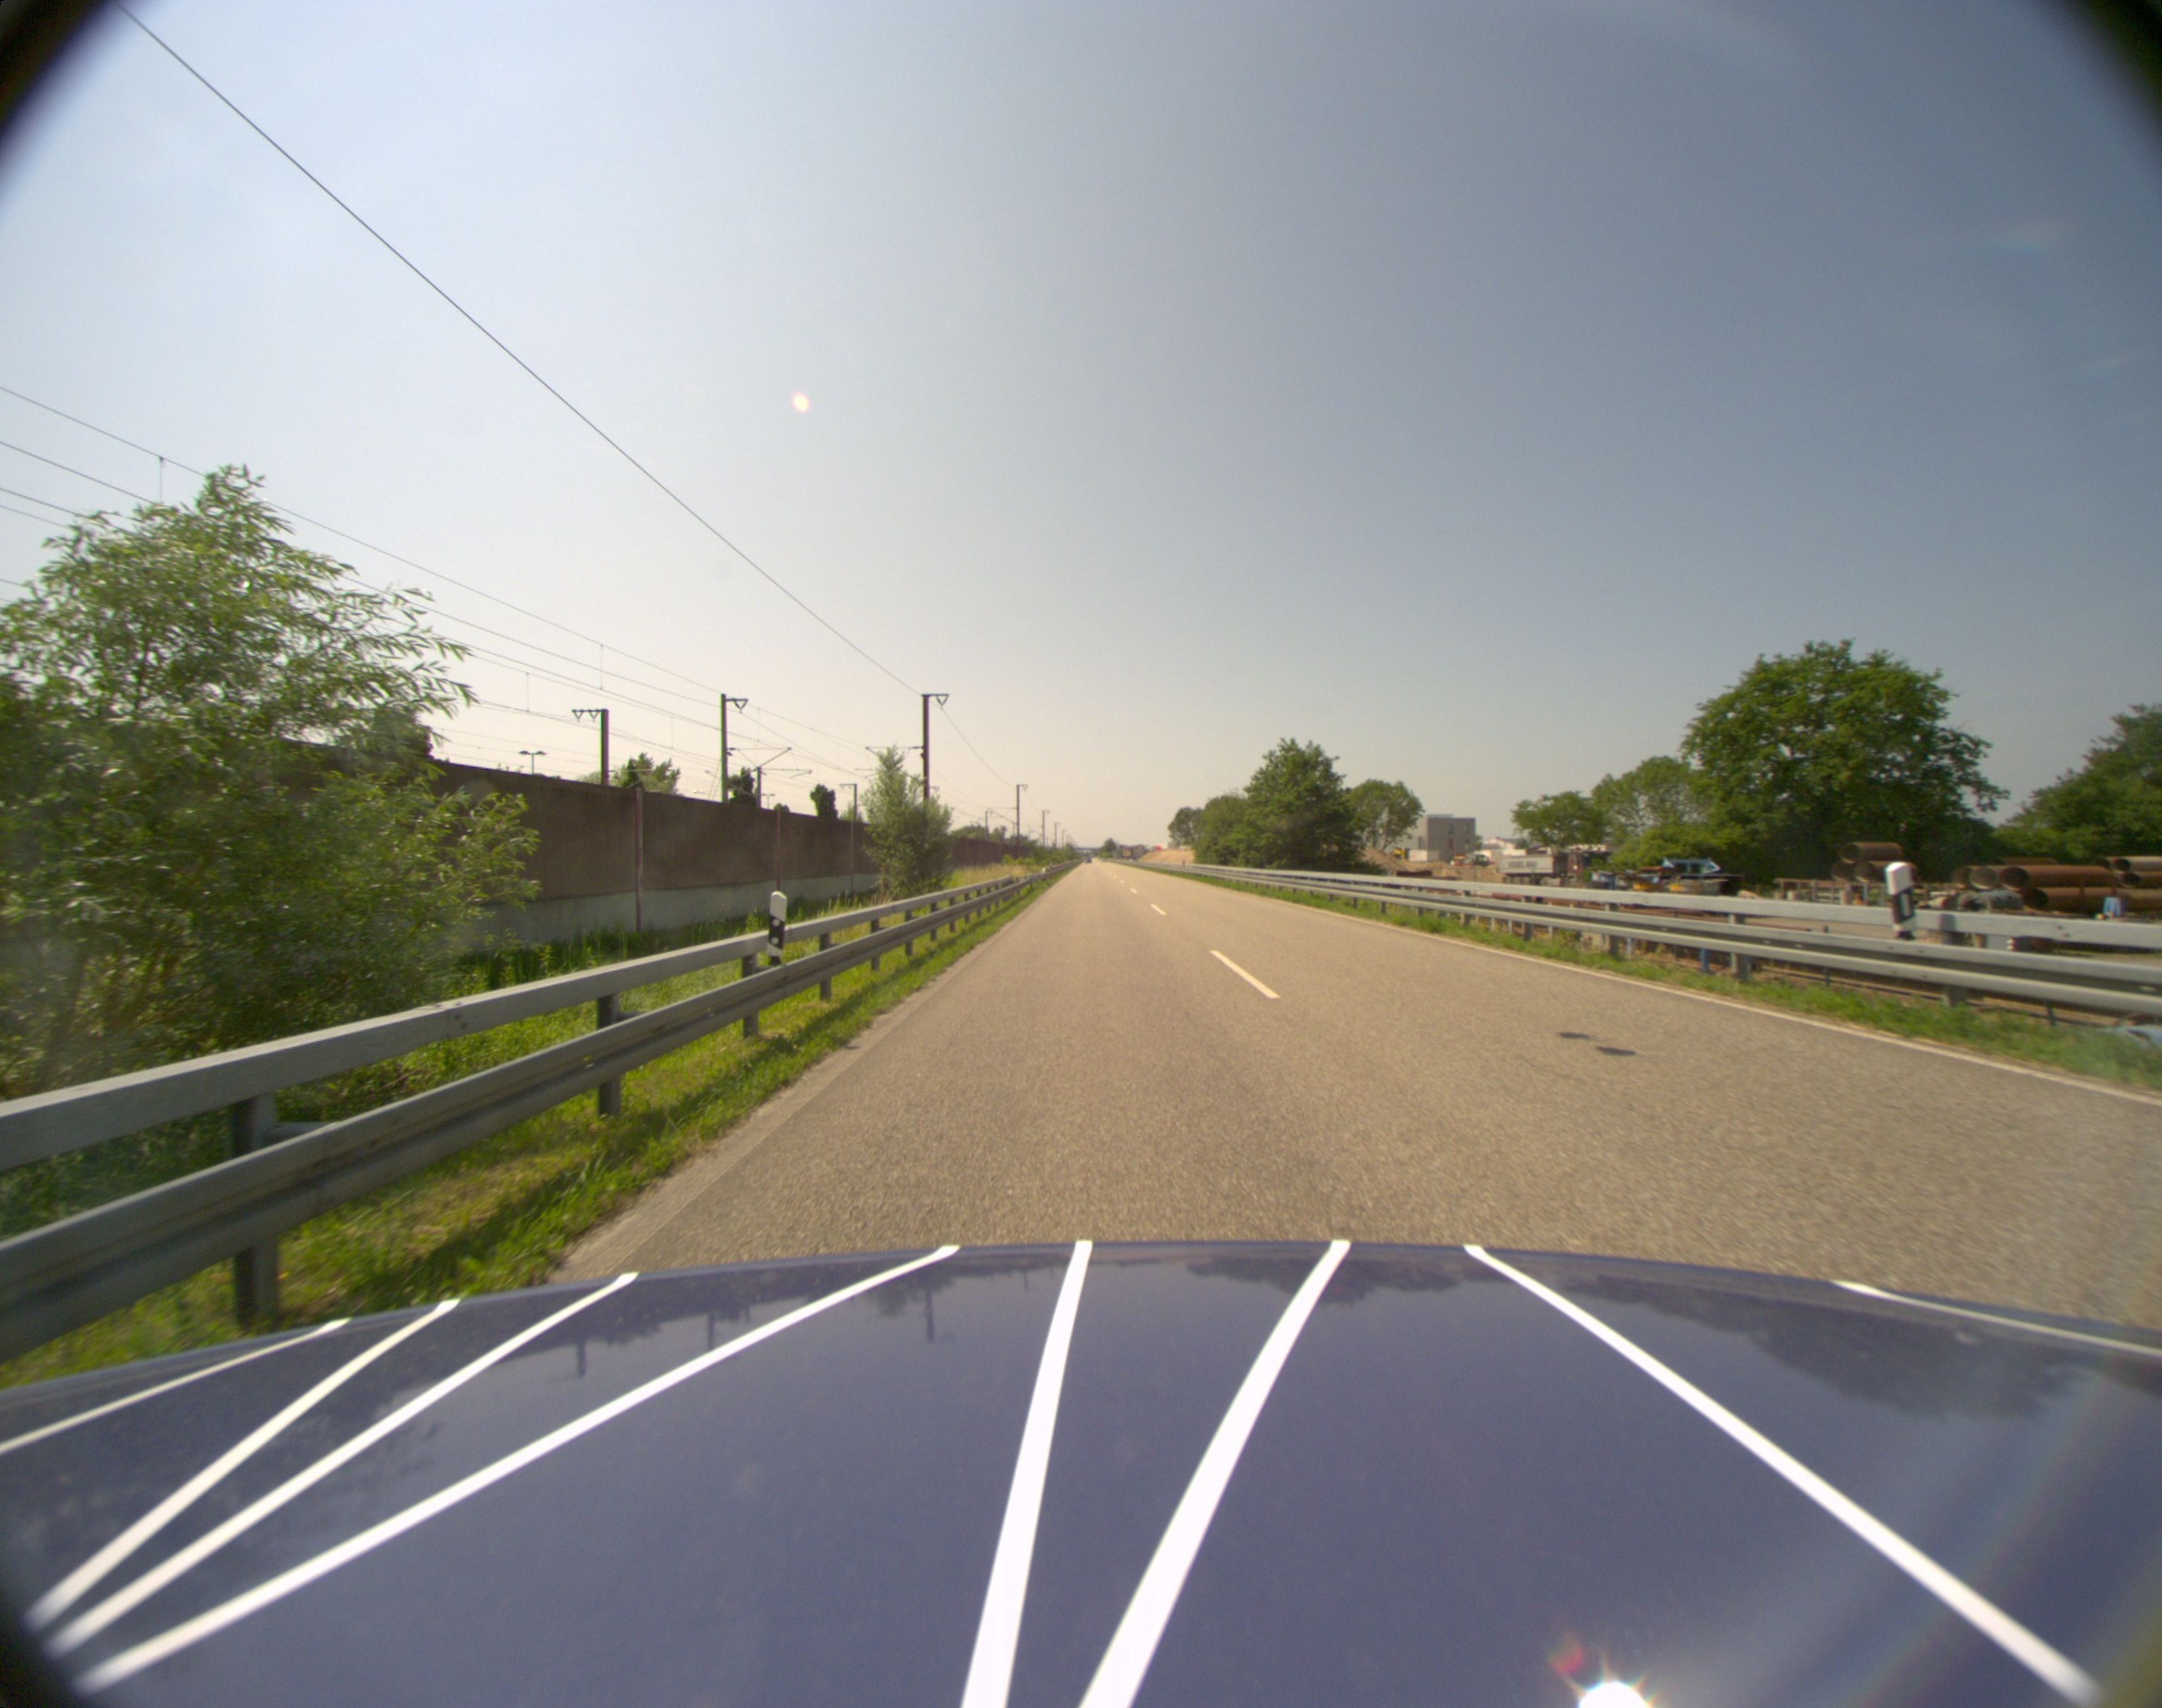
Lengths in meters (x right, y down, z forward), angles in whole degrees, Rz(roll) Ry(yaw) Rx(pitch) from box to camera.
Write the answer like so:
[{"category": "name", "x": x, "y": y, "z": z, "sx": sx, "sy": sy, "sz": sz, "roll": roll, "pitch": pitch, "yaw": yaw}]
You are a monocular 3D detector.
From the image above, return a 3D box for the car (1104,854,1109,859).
[{"category": "car", "x": 7.761, "y": 0.681, "z": 232.295, "sx": 1.599, "sy": 1.567, "sz": 3.828, "roll": -2, "pitch": 0, "yaw": 0}]

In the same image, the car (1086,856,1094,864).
[{"category": "car", "x": 2.412, "y": 1.636, "z": 201.891, "sx": 1.999, "sy": 2.002, "sz": 3.999, "roll": -2, "pitch": 0, "yaw": -1}]

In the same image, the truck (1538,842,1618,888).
[{"category": "truck", "x": 37.458, "y": 0.737, "z": 57.520, "sx": 2.444, "sy": 3.205, "sz": 5.885, "roll": -2, "pitch": 0, "yaw": 5}]

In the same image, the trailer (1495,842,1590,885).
[{"category": "trailer", "x": 37.659, "y": 0.703, "z": 62.424, "sx": 2.445, "sy": 3.205, "sz": 8.807, "roll": -2, "pitch": 0, "yaw": 1}]
